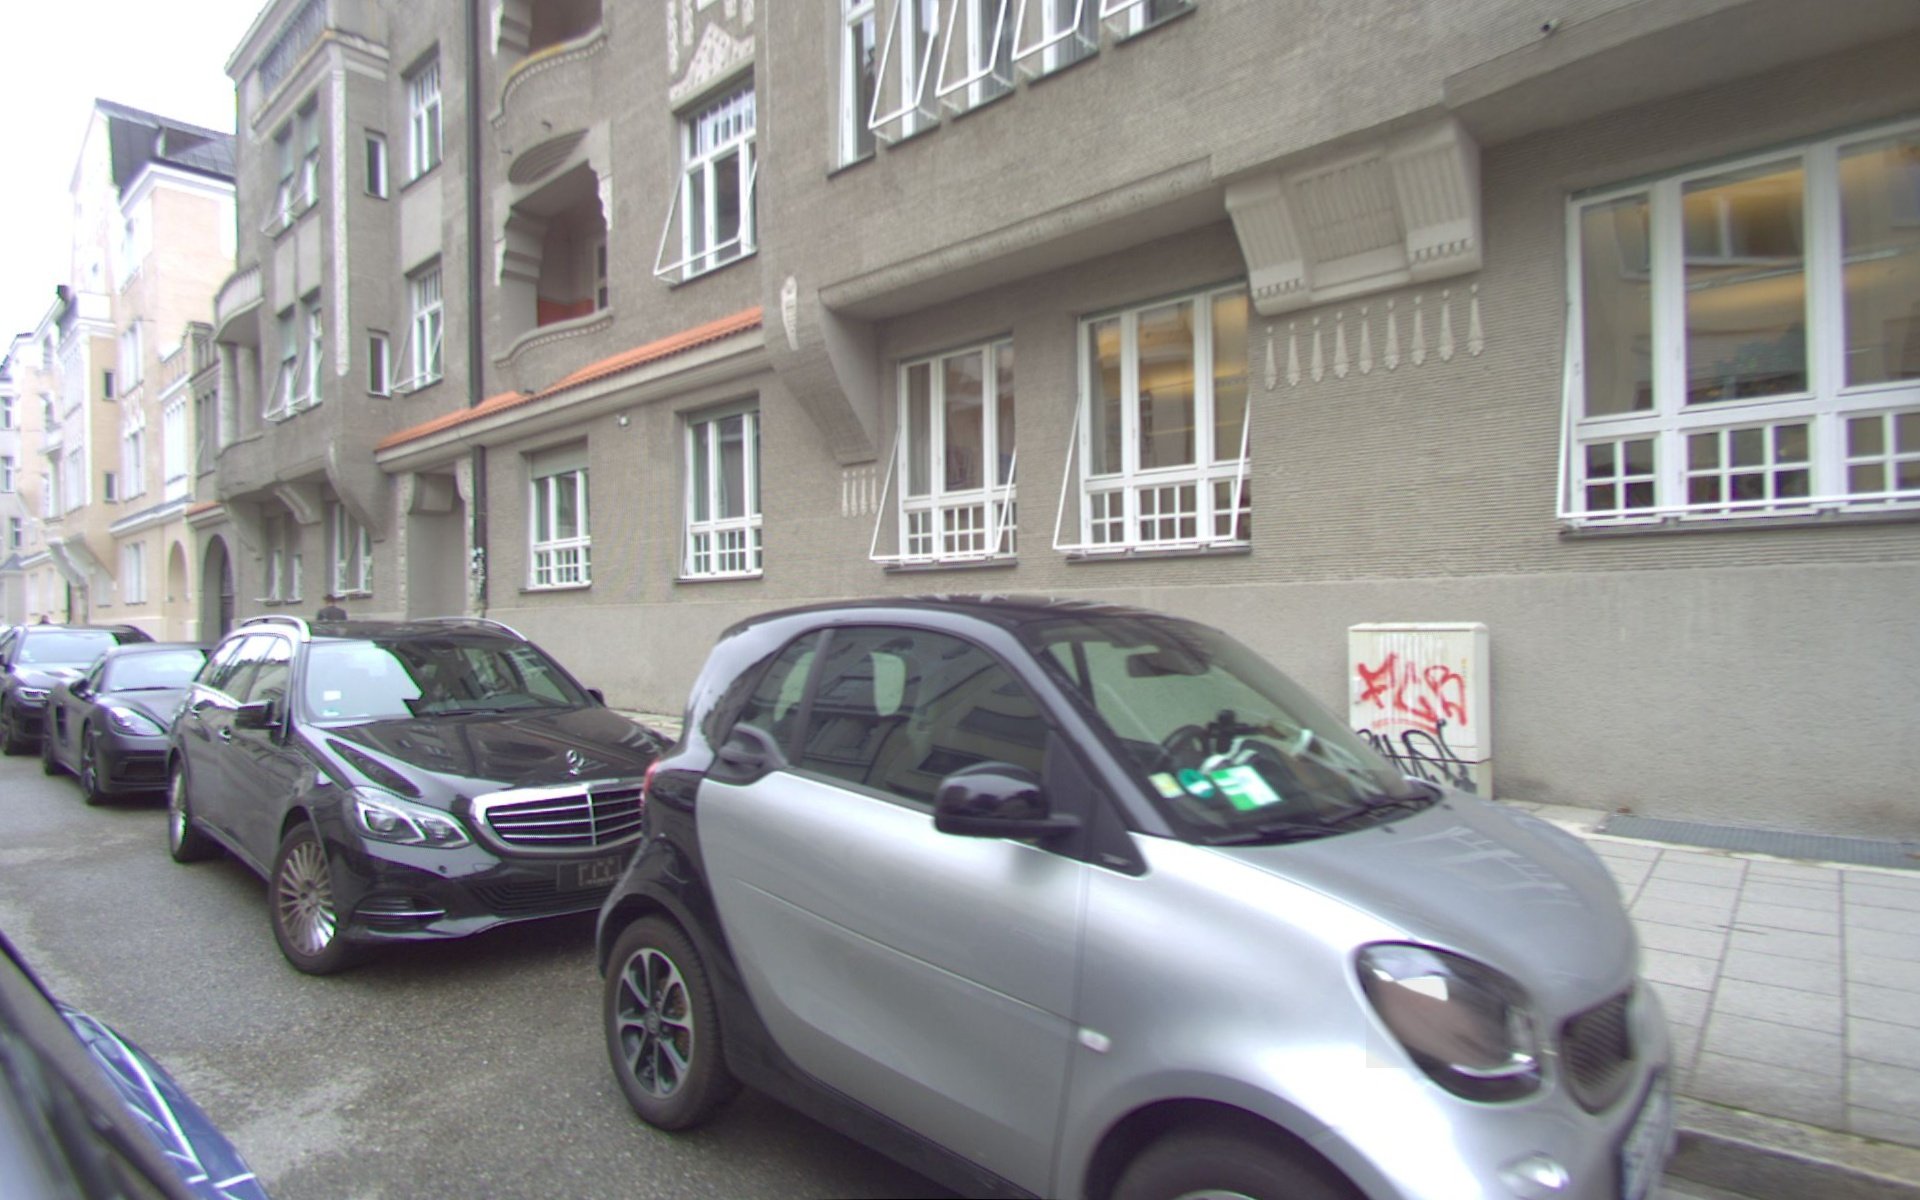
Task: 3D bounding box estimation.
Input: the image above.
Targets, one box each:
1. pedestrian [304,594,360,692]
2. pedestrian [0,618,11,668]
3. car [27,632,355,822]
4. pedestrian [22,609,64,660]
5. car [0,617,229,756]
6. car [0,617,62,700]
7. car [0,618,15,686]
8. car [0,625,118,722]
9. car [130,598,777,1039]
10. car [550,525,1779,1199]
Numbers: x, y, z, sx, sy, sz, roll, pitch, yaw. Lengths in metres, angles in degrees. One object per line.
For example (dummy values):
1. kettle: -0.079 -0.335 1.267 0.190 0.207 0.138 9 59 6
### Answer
1. pedestrian: -12.133 0.817 19.563 0.730 1.831 0.709 -2 0 41
2. pedestrian: -35.341 1.569 37.003 0.740 1.803 0.826 -2 0 41
3. car: -7.271 0.987 9.413 4.096 1.341 1.736 -2 -1 43
4. pedestrian: -32.228 1.200 35.578 0.939 1.742 0.982 -2 0 41
5. car: -11.345 0.982 13.107 4.775 1.459 1.973 -1 -1 40
6. car: -19.570 1.140 20.083 4.601 1.525 1.820 -2 -1 38
7. car: -24.277 1.265 24.317 3.809 1.584 1.785 -1 0 39
8. car: -15.590 1.149 16.920 4.439 1.442 1.786 -2 -2 43
9. car: -3.191 0.805 5.763 4.707 1.526 1.736 -2 -1 43
10. car: 0.347 0.701 2.832 2.911 1.526 1.685 -2 -1 42
